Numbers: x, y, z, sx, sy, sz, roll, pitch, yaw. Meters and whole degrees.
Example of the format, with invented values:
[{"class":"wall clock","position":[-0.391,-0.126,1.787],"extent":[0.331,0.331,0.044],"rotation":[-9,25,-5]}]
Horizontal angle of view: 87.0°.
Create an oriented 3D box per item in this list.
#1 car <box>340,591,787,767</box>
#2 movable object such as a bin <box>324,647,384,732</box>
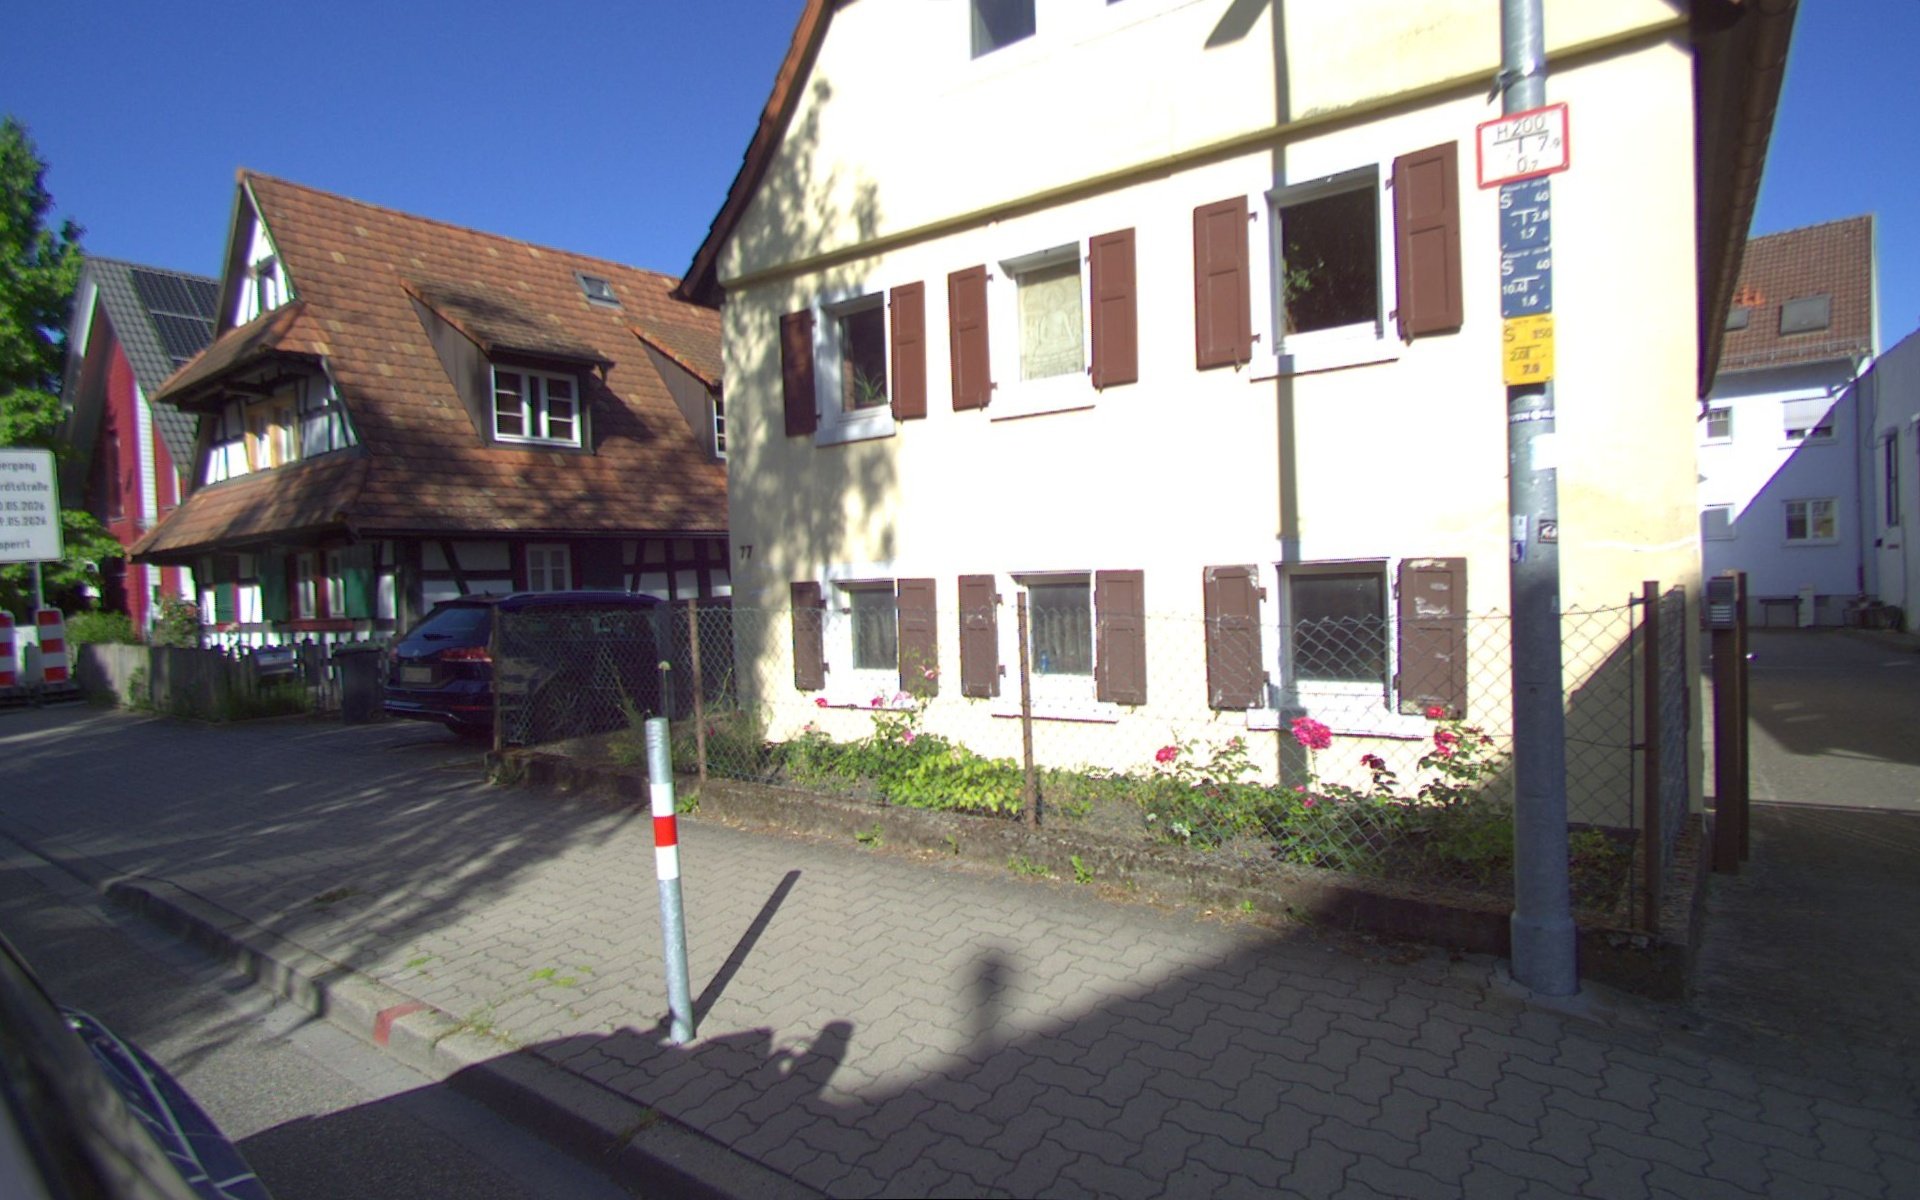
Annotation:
[{"class":"car","position":[-3.940,0.684,10.739],"extent":[1.843,1.473,4.125],"rotation":[-2,-1,33]},{"class":"movable object such as a bin","position":[-6.939,1.010,11.580],"extent":[0.575,0.904,0.557],"rotation":[0,-1,-32]}]
